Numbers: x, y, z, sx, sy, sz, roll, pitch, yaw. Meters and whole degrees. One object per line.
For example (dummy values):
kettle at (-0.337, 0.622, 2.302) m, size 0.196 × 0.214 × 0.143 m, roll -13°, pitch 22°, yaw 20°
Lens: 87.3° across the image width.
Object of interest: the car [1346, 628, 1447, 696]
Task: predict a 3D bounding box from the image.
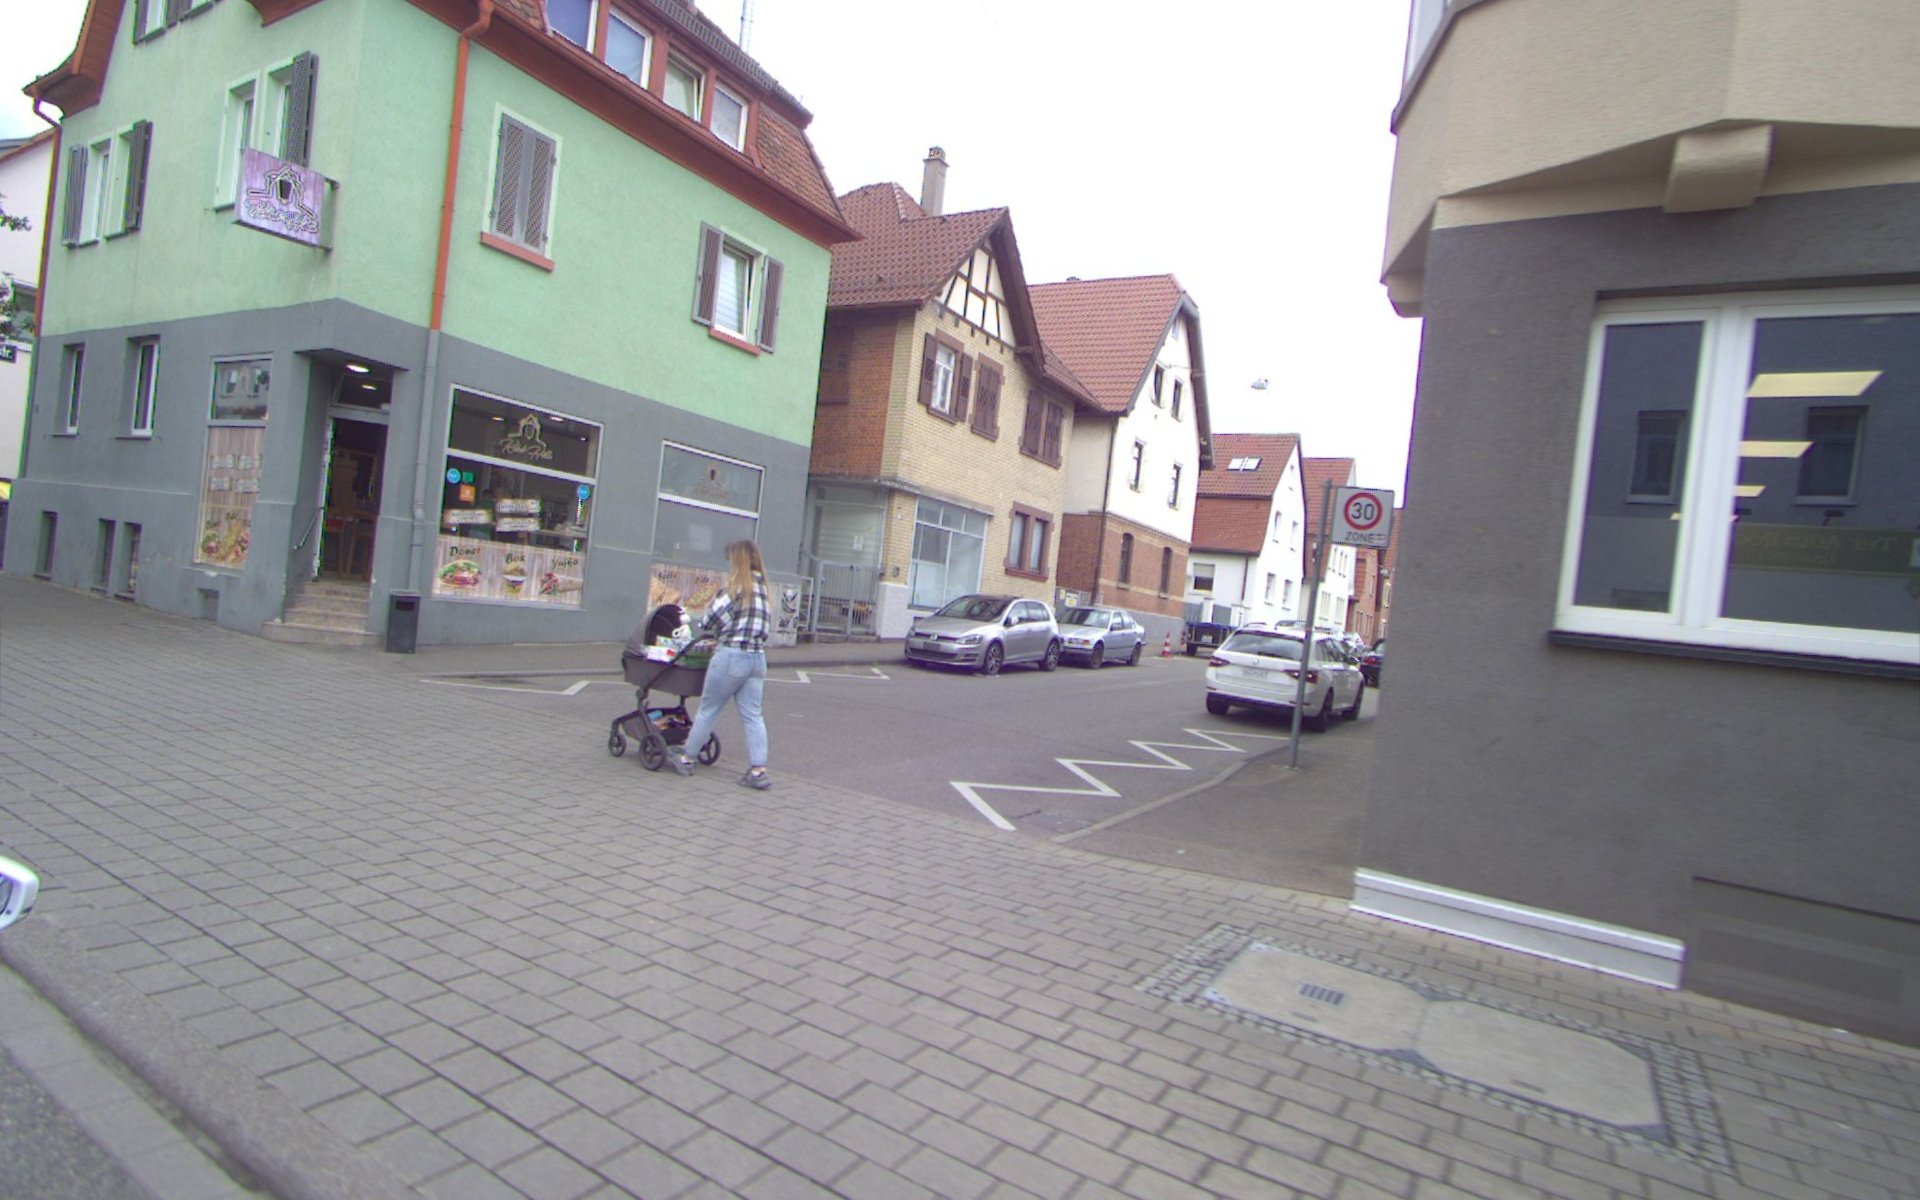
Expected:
car at (12.130, 1.668, 27.802) m, size 1.876 × 1.491 × 4.426 m, roll 8°, pitch 2°, yaw 31°

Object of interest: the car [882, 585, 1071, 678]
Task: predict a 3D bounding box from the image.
car at (0.435, 0.609, 19.503) m, size 1.773 × 1.483 × 4.049 m, roll 6°, pitch 1°, yaw 31°

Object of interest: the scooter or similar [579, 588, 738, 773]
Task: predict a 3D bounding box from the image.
scooter or similar at (-2.281, 0.593, 7.620) m, size 0.876 × 1.247 × 0.590 m, roll 7°, pitch 0°, yaw 32°

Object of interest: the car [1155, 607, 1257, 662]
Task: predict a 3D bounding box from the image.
car at (7.852, 1.101, 31.832) m, size 1.773 × 1.483 × 4.352 m, roll 6°, pitch 1°, yaw 31°

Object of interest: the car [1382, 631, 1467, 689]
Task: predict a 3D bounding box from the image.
car at (14.904, 1.862, 32.162) m, size 1.876 × 1.491 × 4.426 m, roll 8°, pitch 2°, yaw 31°

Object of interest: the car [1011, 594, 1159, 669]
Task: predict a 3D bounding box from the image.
car at (3.082, 0.759, 23.933) m, size 1.773 × 1.483 × 4.352 m, roll 6°, pitch 1°, yaw 31°

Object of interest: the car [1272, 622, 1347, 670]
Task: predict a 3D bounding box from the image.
car at (13.759, 1.796, 39.497) m, size 1.773 × 1.612 × 4.352 m, roll 6°, pitch 1°, yaw 31°

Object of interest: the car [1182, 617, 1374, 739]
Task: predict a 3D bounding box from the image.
car at (5.331, 1.181, 16.439) m, size 1.876 × 1.491 × 4.426 m, roll 8°, pitch 2°, yaw 31°

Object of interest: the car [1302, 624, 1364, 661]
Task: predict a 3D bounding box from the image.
car at (17.332, 1.948, 46.599) m, size 1.773 × 1.483 × 4.352 m, roll 6°, pitch 1°, yaw 31°

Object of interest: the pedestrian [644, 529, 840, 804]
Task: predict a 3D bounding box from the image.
pedestrian at (-1.523, 0.446, 7.062) m, size 0.885 × 1.740 × 0.751 m, roll 7°, pitch 0°, yaw 32°
